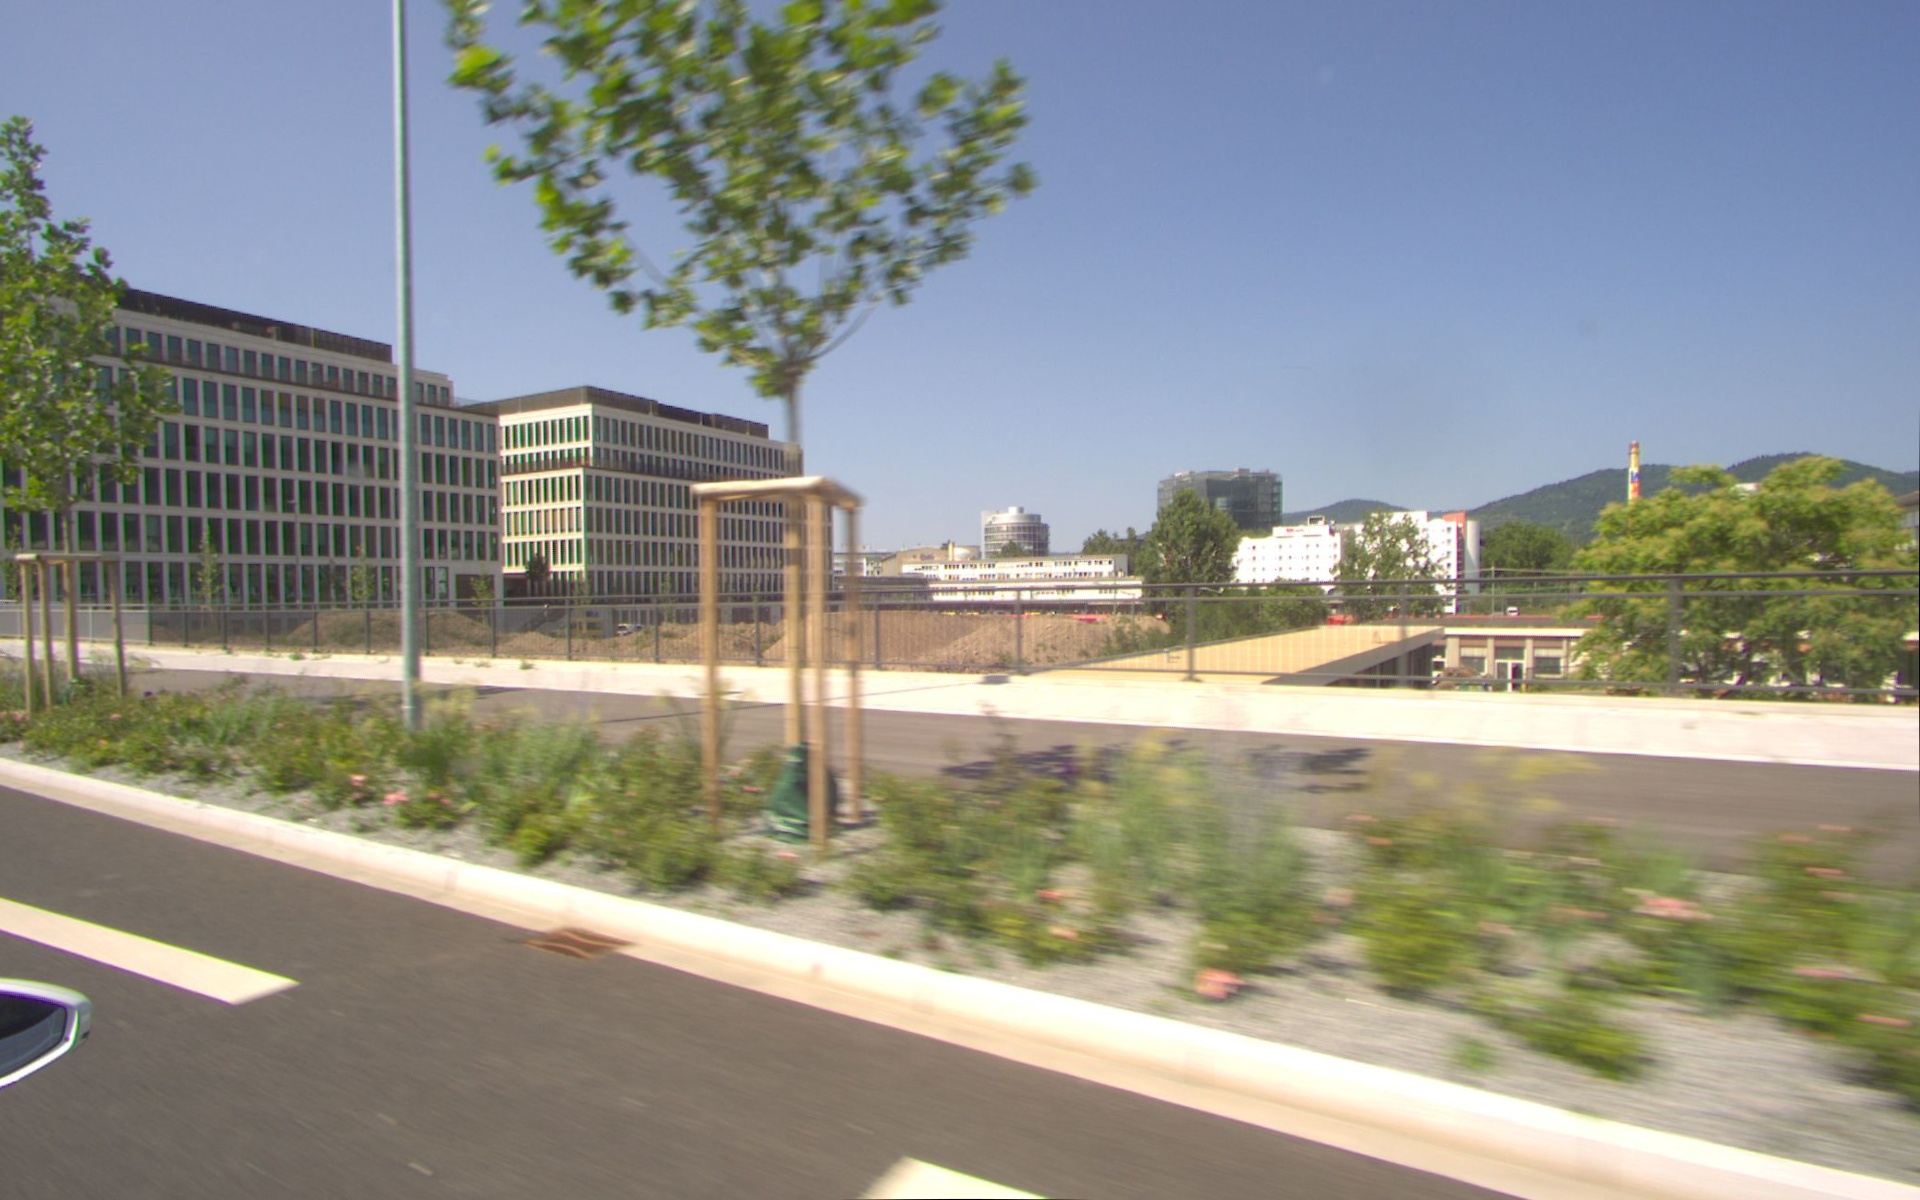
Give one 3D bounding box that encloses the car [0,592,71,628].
[{"bbox_3d":[-63.165,0.633,66.498,2.116,2.299,5.827,1,-2,33],"label":"car"}]
